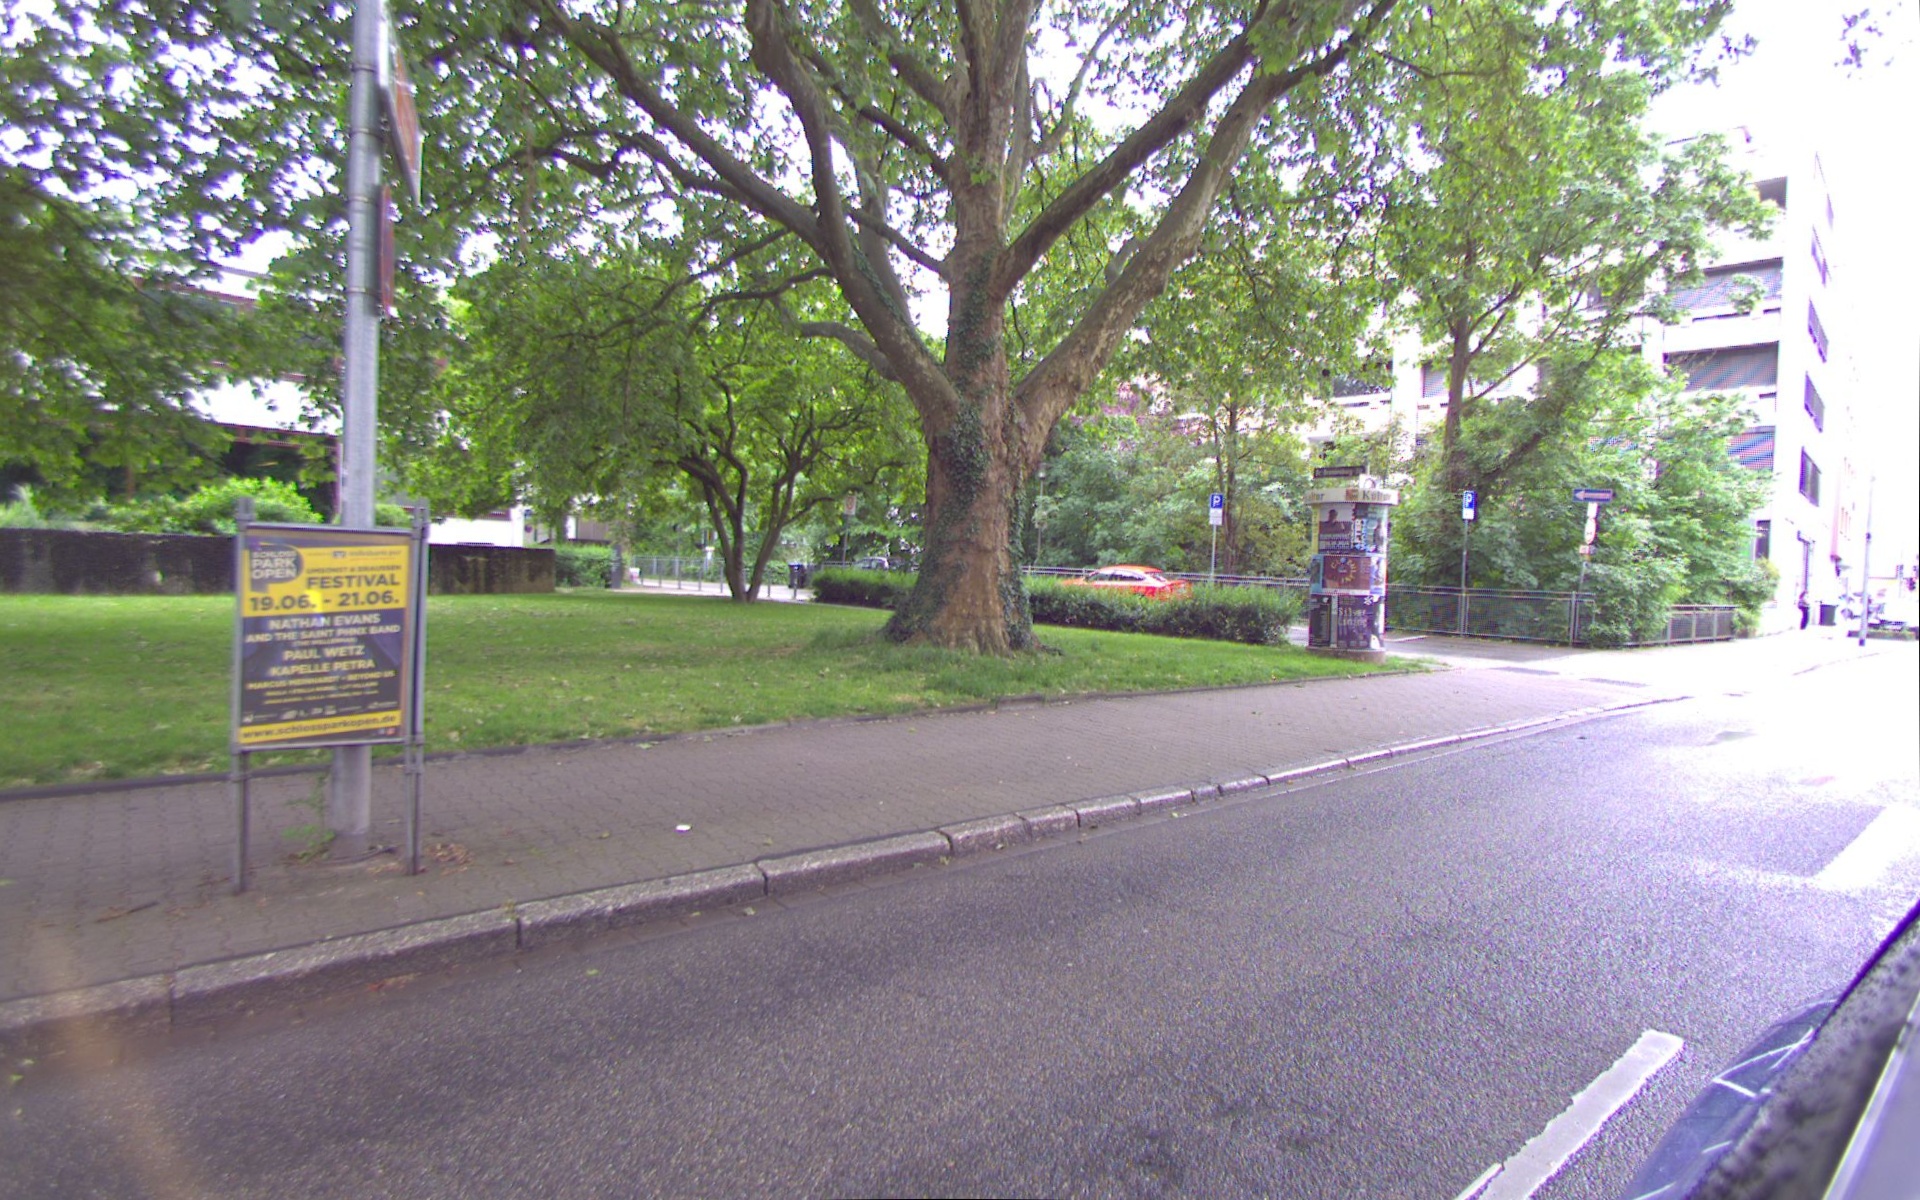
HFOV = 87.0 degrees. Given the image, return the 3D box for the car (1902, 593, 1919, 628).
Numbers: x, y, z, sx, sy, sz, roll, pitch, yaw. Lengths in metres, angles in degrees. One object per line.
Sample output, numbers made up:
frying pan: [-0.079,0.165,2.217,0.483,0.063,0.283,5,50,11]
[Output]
car: [42.635,0.499,44.165,4.493,1.437,1.834,0,3,-43]

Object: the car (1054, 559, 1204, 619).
car: [4.913,-0.384,29.750,3.989,1.499,1.847,5,5,44]

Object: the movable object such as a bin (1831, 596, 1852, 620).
movable object such as a bin: [42.131,0.371,48.380,0.505,1.117,0.680,0,2,-42]

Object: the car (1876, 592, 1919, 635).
car: [37.406,0.524,39.751,3.741,1.577,1.705,0,4,-43]

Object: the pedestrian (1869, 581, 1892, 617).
pedestrian: [56.516,-0.084,62.118,0.797,2.179,0.732,2,1,26]

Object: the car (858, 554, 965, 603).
car: [-1.817,-0.818,37.097,1.707,1.590,3.925,0,3,-45]

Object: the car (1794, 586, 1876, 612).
car: [62.022,-0.074,71.802,1.770,1.604,4.155,0,3,-41]

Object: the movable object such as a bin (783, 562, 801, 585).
movable object such as a bin: [-7.176,-1.123,43.168,0.573,0.986,0.512,0,0,-41]

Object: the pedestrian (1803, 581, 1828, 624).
pedestrian: [34.646,0.112,40.990,0.598,1.679,0.681,7,4,42]
